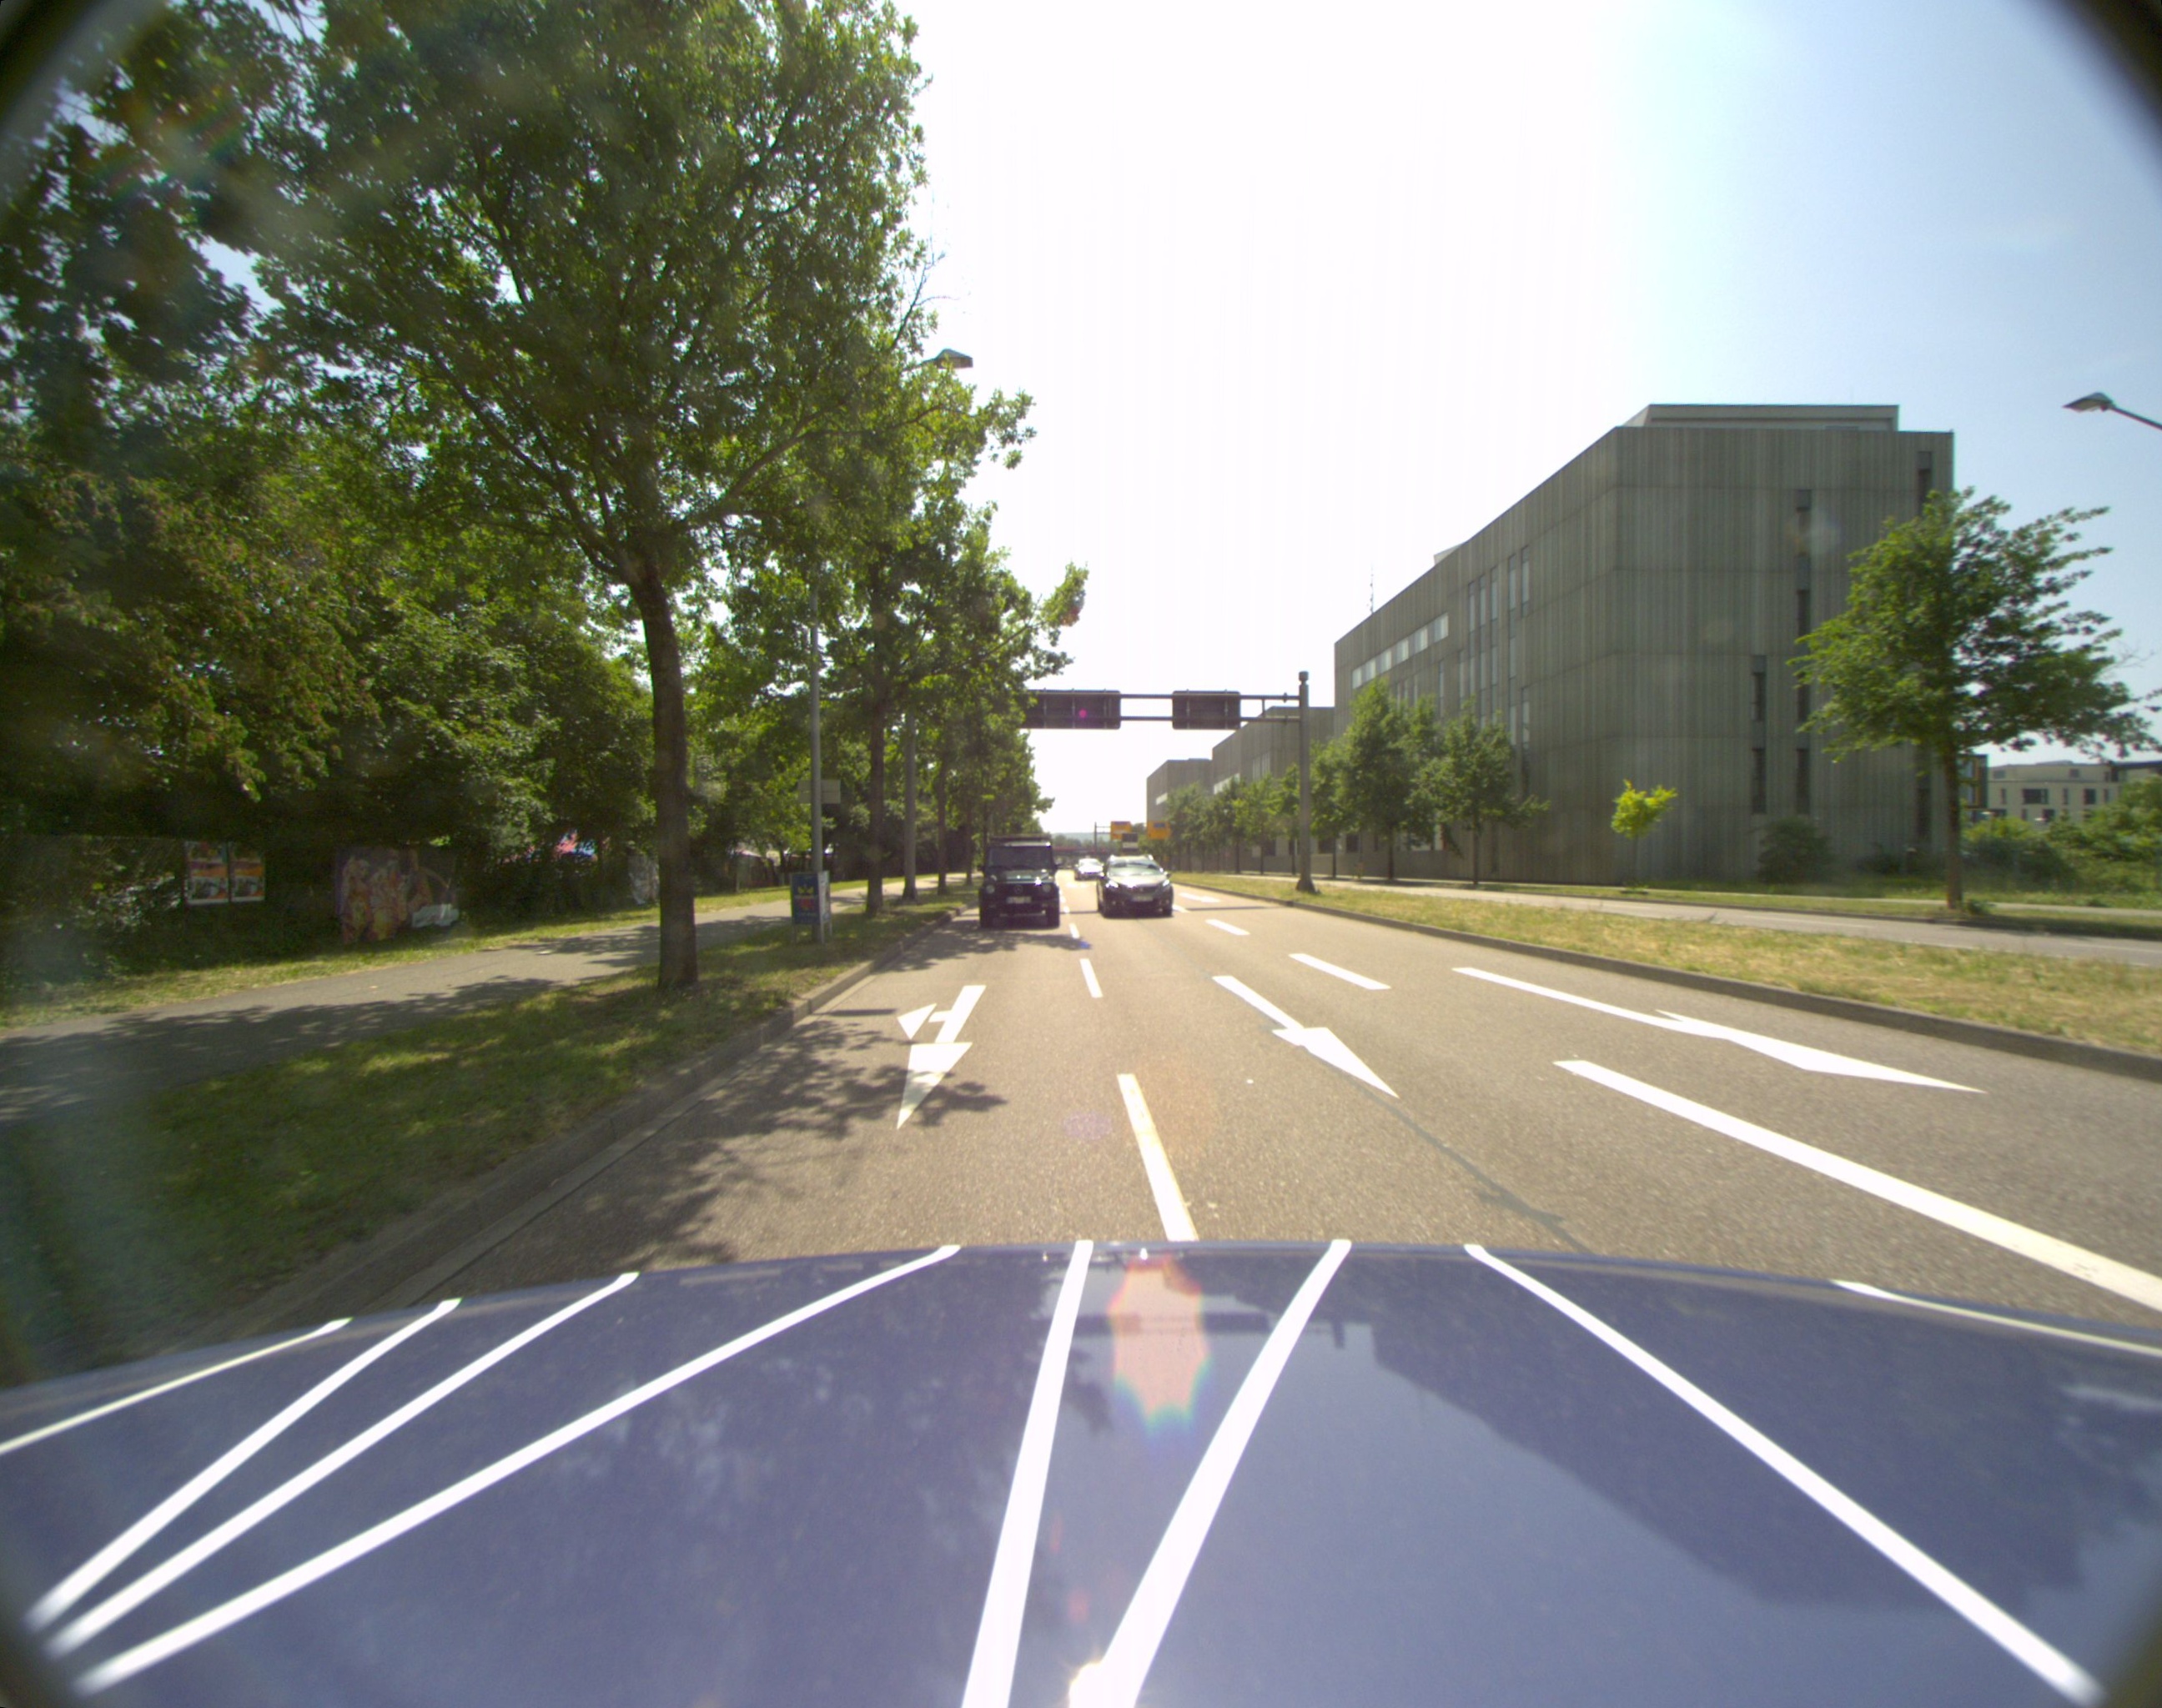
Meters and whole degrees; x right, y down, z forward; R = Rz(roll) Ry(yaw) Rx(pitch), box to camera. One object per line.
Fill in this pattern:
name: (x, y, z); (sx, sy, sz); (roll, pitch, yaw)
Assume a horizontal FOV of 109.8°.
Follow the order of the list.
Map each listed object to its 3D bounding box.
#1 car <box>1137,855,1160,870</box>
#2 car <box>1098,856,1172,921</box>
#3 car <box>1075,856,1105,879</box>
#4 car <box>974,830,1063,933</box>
car: (7.584, 0.918, 85.636); (1.898, 1.601, 4.532); (0, 0, -4)
car: (1.340, 0.875, 20.437); (1.619, 1.502, 4.459); (-2, -1, 0)
car: (0.581, 0.920, 51.789); (1.817, 1.455, 4.000); (0, -1, -2)
car: (-1.416, 0.590, 18.256); (1.842, 2.141, 4.557); (-1, 0, -3)
